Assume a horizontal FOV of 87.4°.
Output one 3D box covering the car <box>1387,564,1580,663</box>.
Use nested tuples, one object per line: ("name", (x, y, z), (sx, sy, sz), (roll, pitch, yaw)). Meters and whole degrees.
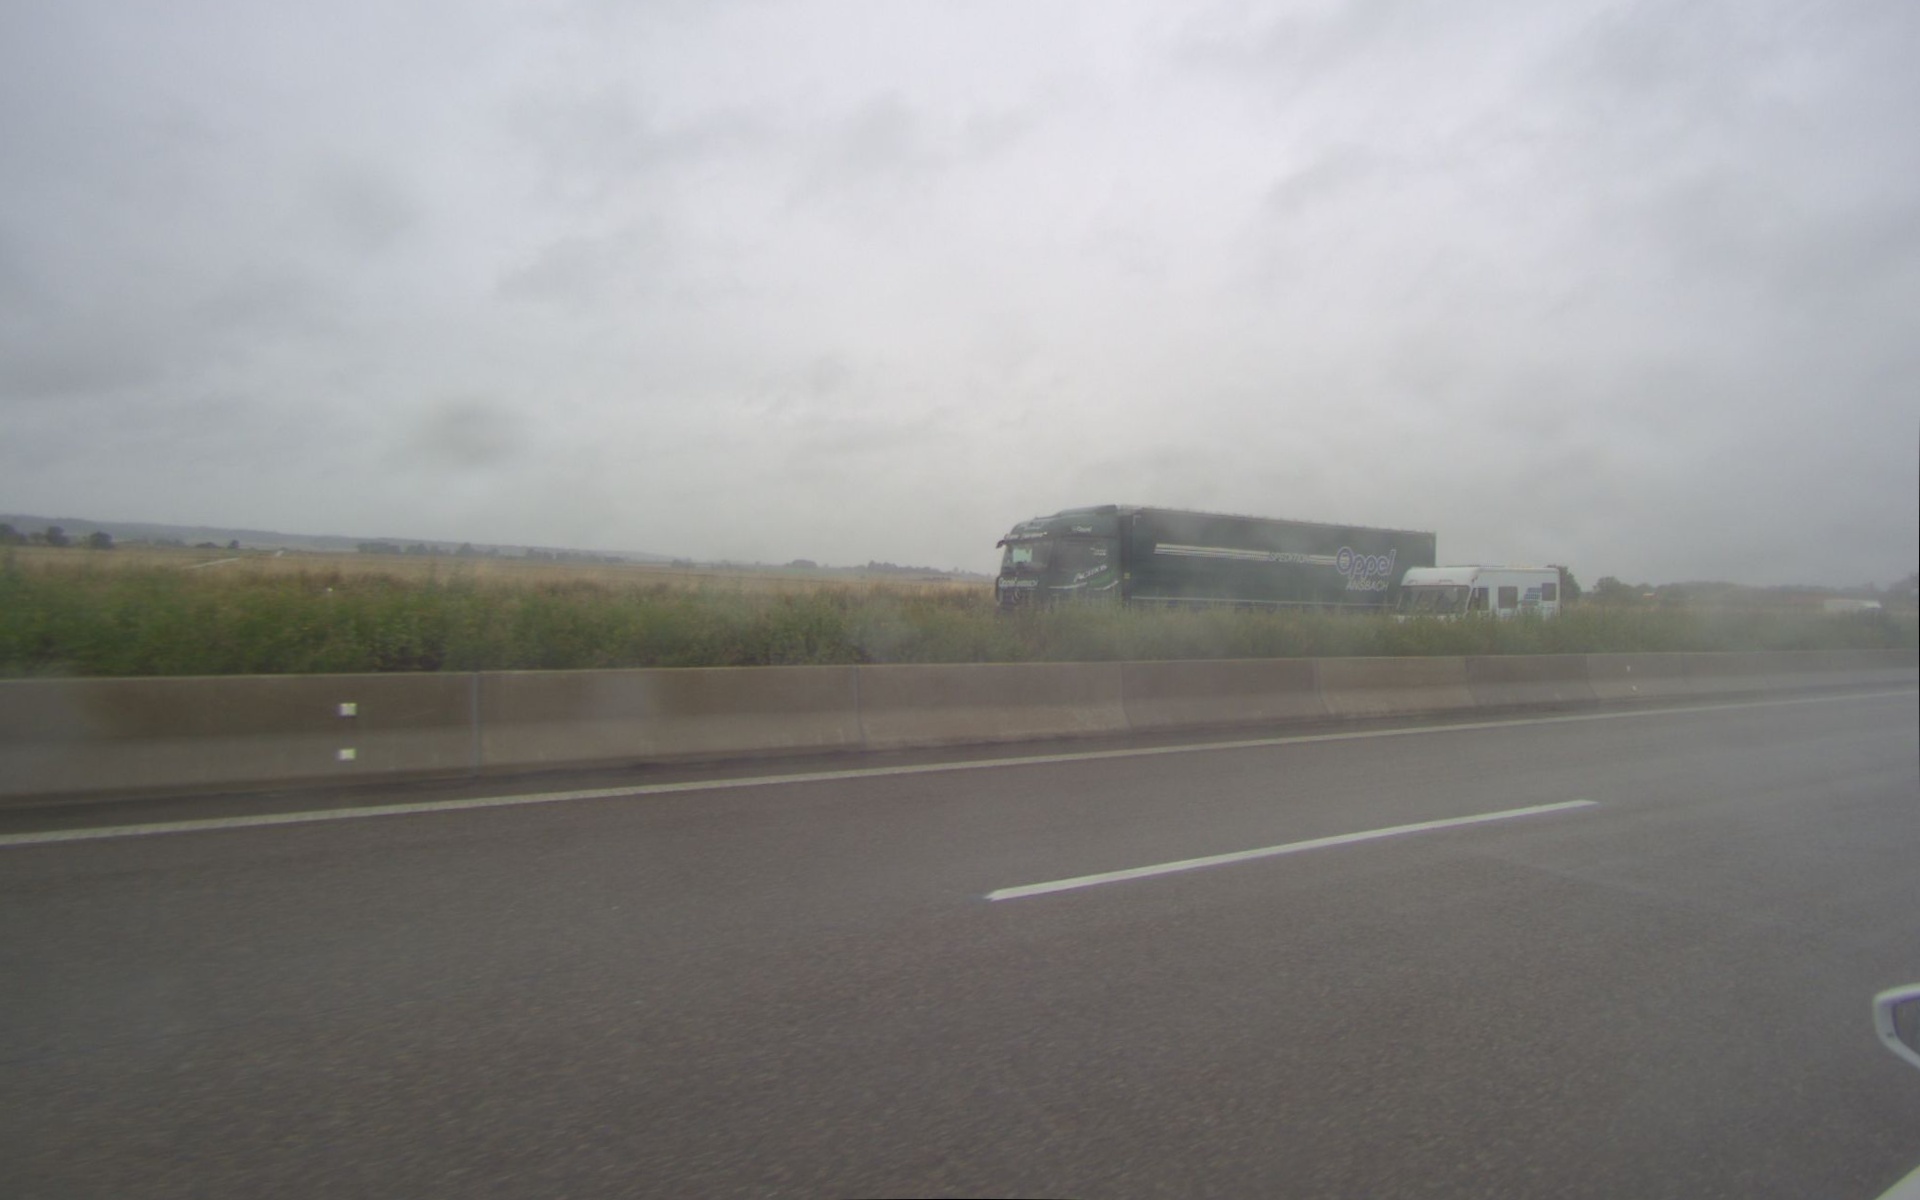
("car", (15.964, 0.419, 30.517), (6.139, 2.742, 2.482), (1, 1, -33))

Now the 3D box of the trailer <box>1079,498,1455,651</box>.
("trailer", (10.009, -0.535, 31.152), (14.042, 4.051, 2.213), (1, 1, -31))

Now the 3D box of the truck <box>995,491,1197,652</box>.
("truck", (3.741, -0.687, 27.380), (5.124, 4.037, 2.202), (1, 1, -31))
